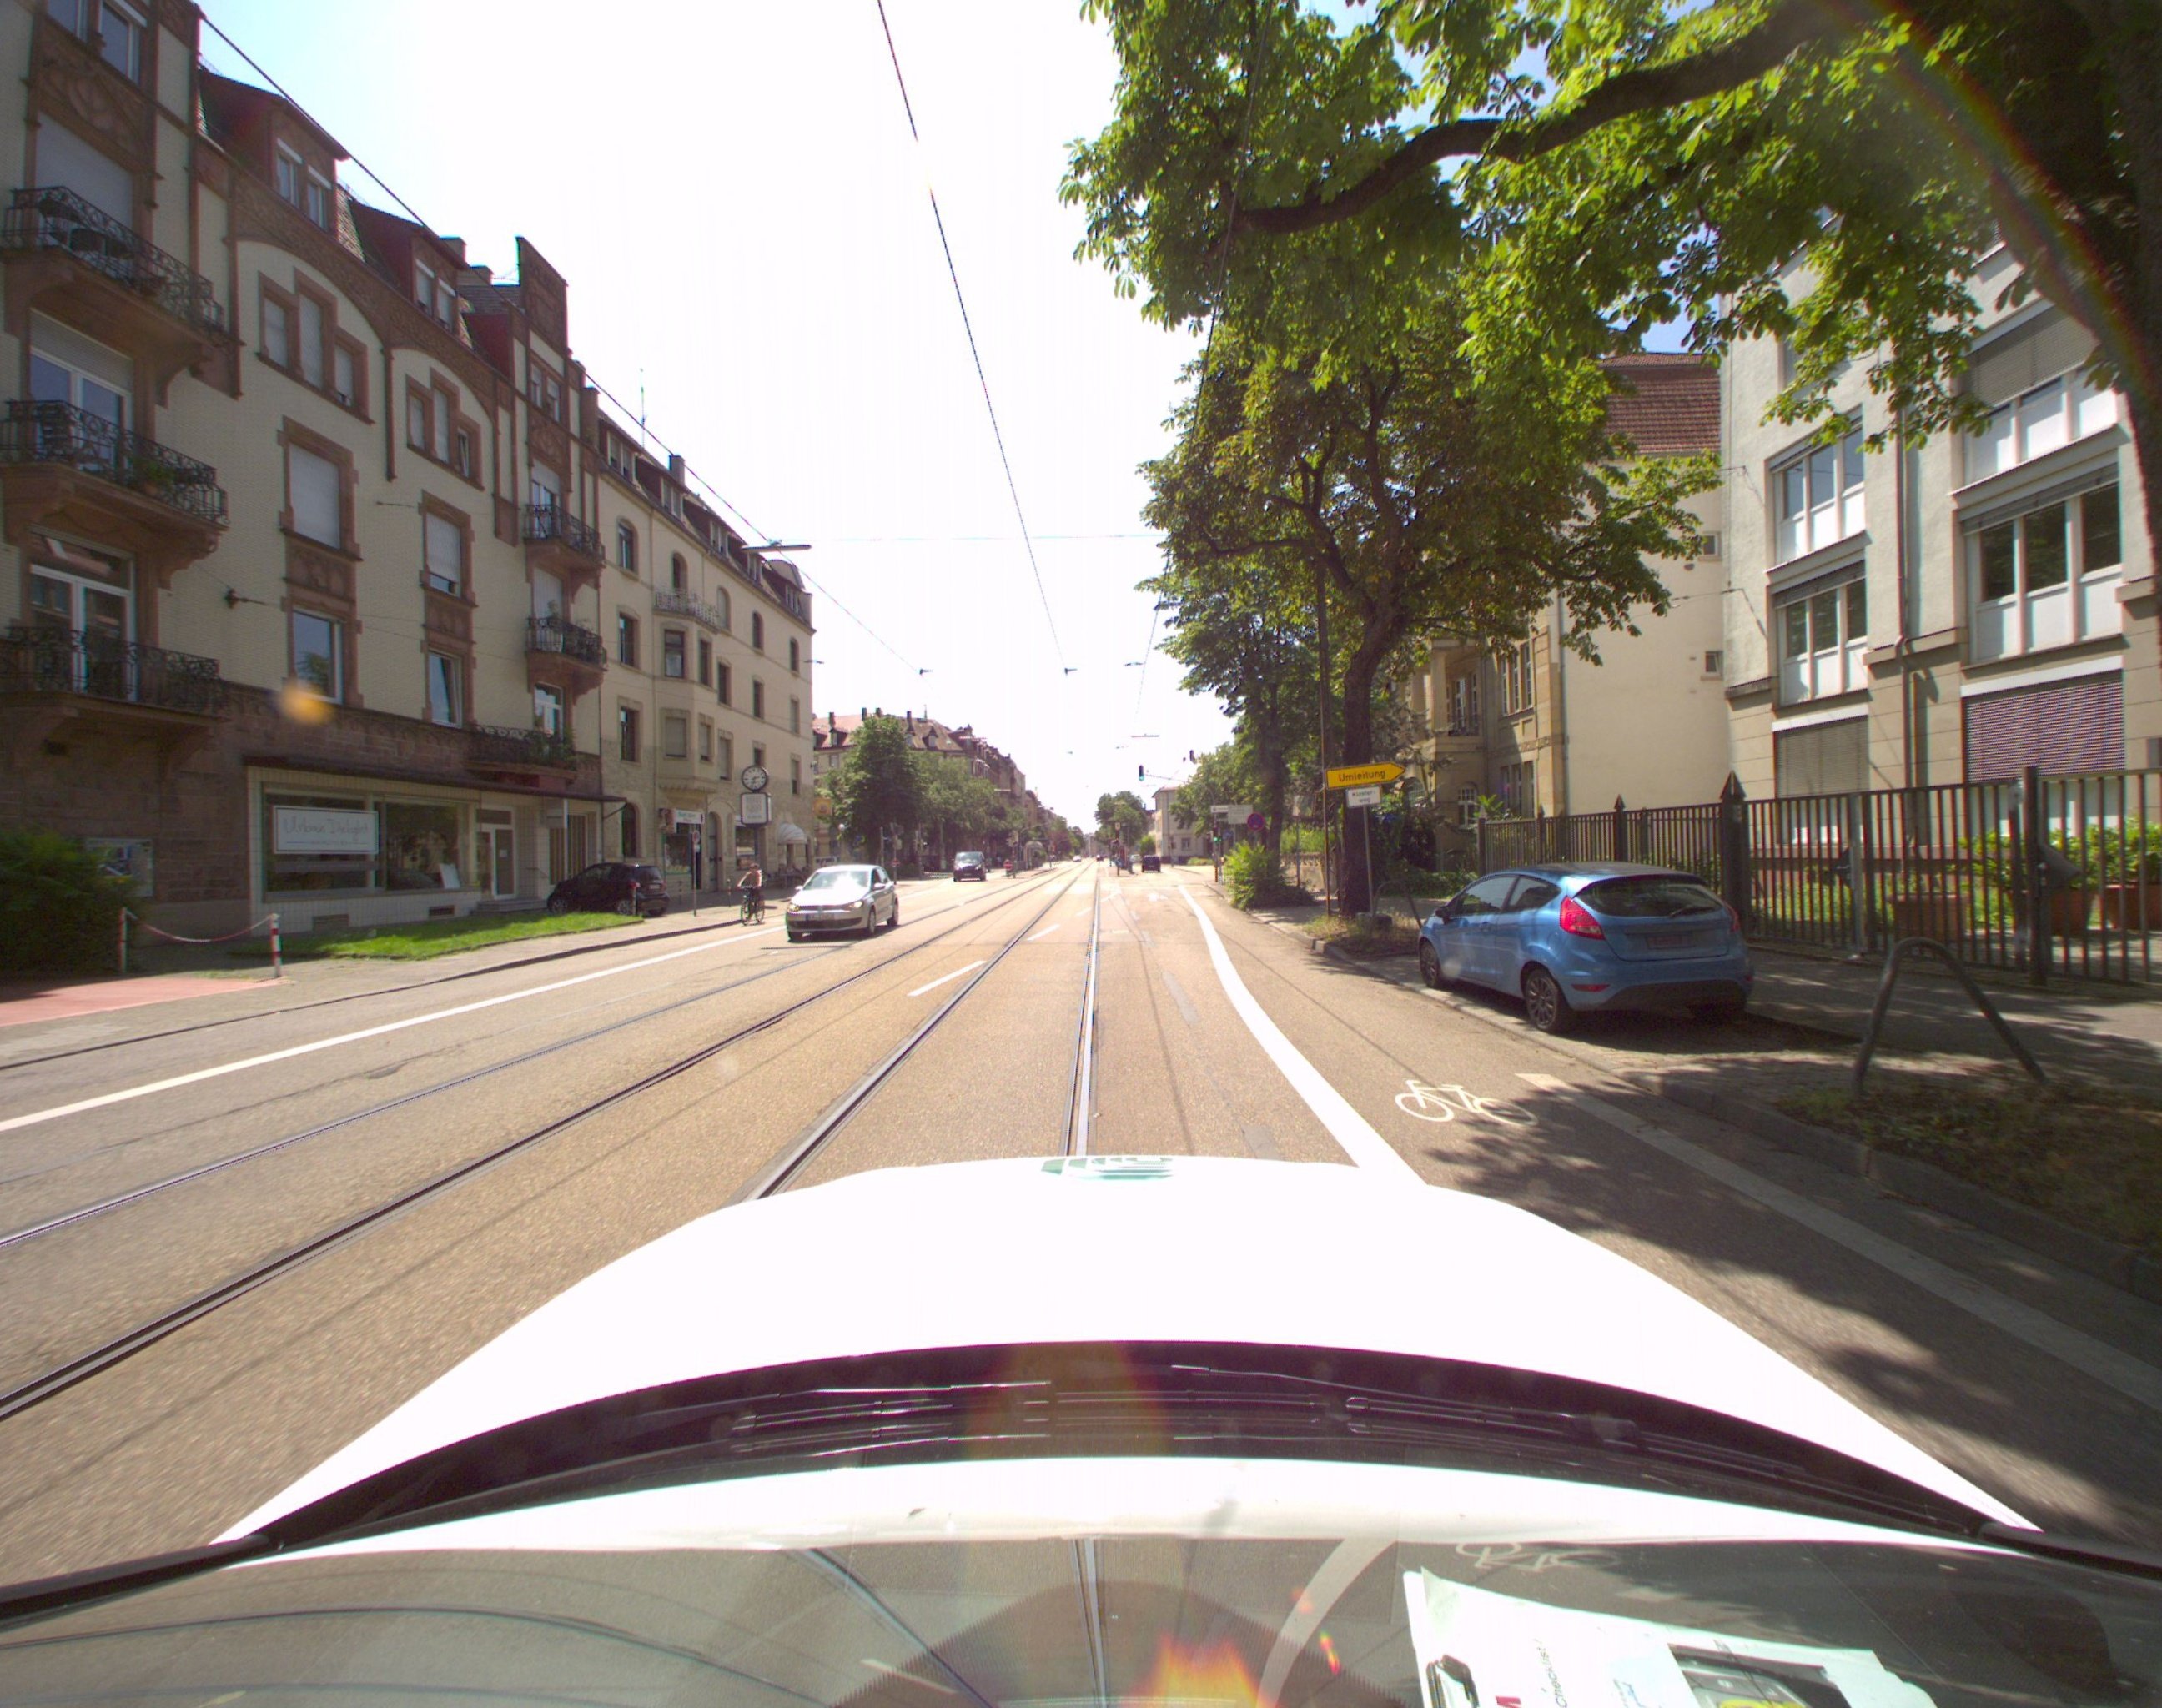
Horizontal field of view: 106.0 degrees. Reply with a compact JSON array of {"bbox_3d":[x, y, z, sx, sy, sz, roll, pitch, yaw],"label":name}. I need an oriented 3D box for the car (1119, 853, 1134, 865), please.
[{"bbox_3d":[6.288,0.702,112.675,1.522,1.456,3.359,-3,-1,-4],"label":"car"}]

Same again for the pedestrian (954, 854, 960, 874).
[{"bbox_3d":[-11.966,0.960,78.594,0.508,1.879,0.494,0,-1,5],"label":"pedestrian"}]

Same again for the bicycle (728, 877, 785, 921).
[{"bbox_3d":[-8.899,1.214,22.407,0.642,1.074,2.186,-1,0,1],"label":"bicycle"}]

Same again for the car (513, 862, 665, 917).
[{"bbox_3d":[-13.726,0.964,22.812,3.338,1.471,1.532,0,0,4],"label":"car"}]

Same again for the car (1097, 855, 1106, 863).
[{"bbox_3d":[4.677,1.155,189.429,2.040,2.014,4.607,0,-1,1],"label":"car"}]

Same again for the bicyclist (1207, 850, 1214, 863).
[{"bbox_3d":[16.040,0.330,100.673,0.687,1.646,0.584,-1,-1,34],"label":"bicyclist"}]

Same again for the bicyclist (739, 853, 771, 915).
[{"bbox_3d":[-8.903,0.819,22.262,0.608,1.663,0.579,-1,0,0],"label":"bicyclist"}]

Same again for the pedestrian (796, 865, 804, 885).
[{"bbox_3d":[-15.185,1.130,44.010,0.354,1.089,0.405,0,-1,-3],"label":"pedestrian"}]

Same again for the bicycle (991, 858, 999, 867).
[{"bbox_3d":[-12.196,1.218,115.428,0.360,1.169,1.529,1,1,30],"label":"bicycle"}]

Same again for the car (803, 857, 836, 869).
[{"bbox_3d":[-31.678,1.129,98.536,3.695,1.442,1.550,-1,-1,25],"label":"car"}]

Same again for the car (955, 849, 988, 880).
[{"bbox_3d":[-7.342,0.732,55.172,1.840,1.938,4.815,-3,-1,-4],"label":"car"}]

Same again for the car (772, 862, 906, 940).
[{"bbox_3d":[-5.015,0.914,17.420,1.703,1.412,3.823,-3,-1,-1],"label":"car"}]

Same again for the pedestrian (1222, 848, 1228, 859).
[{"bbox_3d":[14.676,-0.034,83.030,0.507,1.092,0.479,-3,1,6],"label":"pedestrian"}]

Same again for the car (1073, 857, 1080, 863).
[{"bbox_3d":[-1.052,1.281,184.705,1.536,1.339,3.717,0,-1,-1],"label":"car"}]

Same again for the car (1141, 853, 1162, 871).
[{"bbox_3d":[6.072,0.723,70.733,1.519,1.444,3.365,-3,-1,1],"label":"car"}]

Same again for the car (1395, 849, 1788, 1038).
[{"bbox_3d":[4.912,0.741,8.608,1.677,1.462,4.001,-3,-1,2],"label":"car"}]

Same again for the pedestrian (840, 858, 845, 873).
[{"bbox_3d":[-29.087,1.403,99.442,0.508,1.768,0.525,0,-1,-22],"label":"pedestrian"}]

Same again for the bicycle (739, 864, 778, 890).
[{"bbox_3d":[-15.384,1.085,38.871,0.450,1.225,2.090,-1,-1,20],"label":"bicycle"}]

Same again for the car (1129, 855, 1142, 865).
[{"bbox_3d":[8.482,0.987,127.514,1.742,1.472,3.937,-4,-1,0],"label":"car"}]

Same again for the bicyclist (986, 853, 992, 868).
[{"bbox_3d":[-9.731,0.650,86.367,0.606,1.574,0.585,0,-1,0],"label":"bicyclist"}]

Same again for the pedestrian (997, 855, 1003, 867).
[{"bbox_3d":[-11.220,1.023,112.665,0.657,1.615,0.464,0,2,-42],"label":"pedestrian"}]

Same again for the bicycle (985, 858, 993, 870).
[{"bbox_3d":[-9.729,1.064,86.428,0.626,1.157,1.978,0,0,1],"label":"bicycle"}]

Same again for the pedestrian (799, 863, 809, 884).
[{"bbox_3d":[-15.320,1.069,45.000,0.404,1.148,0.405,0,-1,-3],"label":"pedestrian"}]
